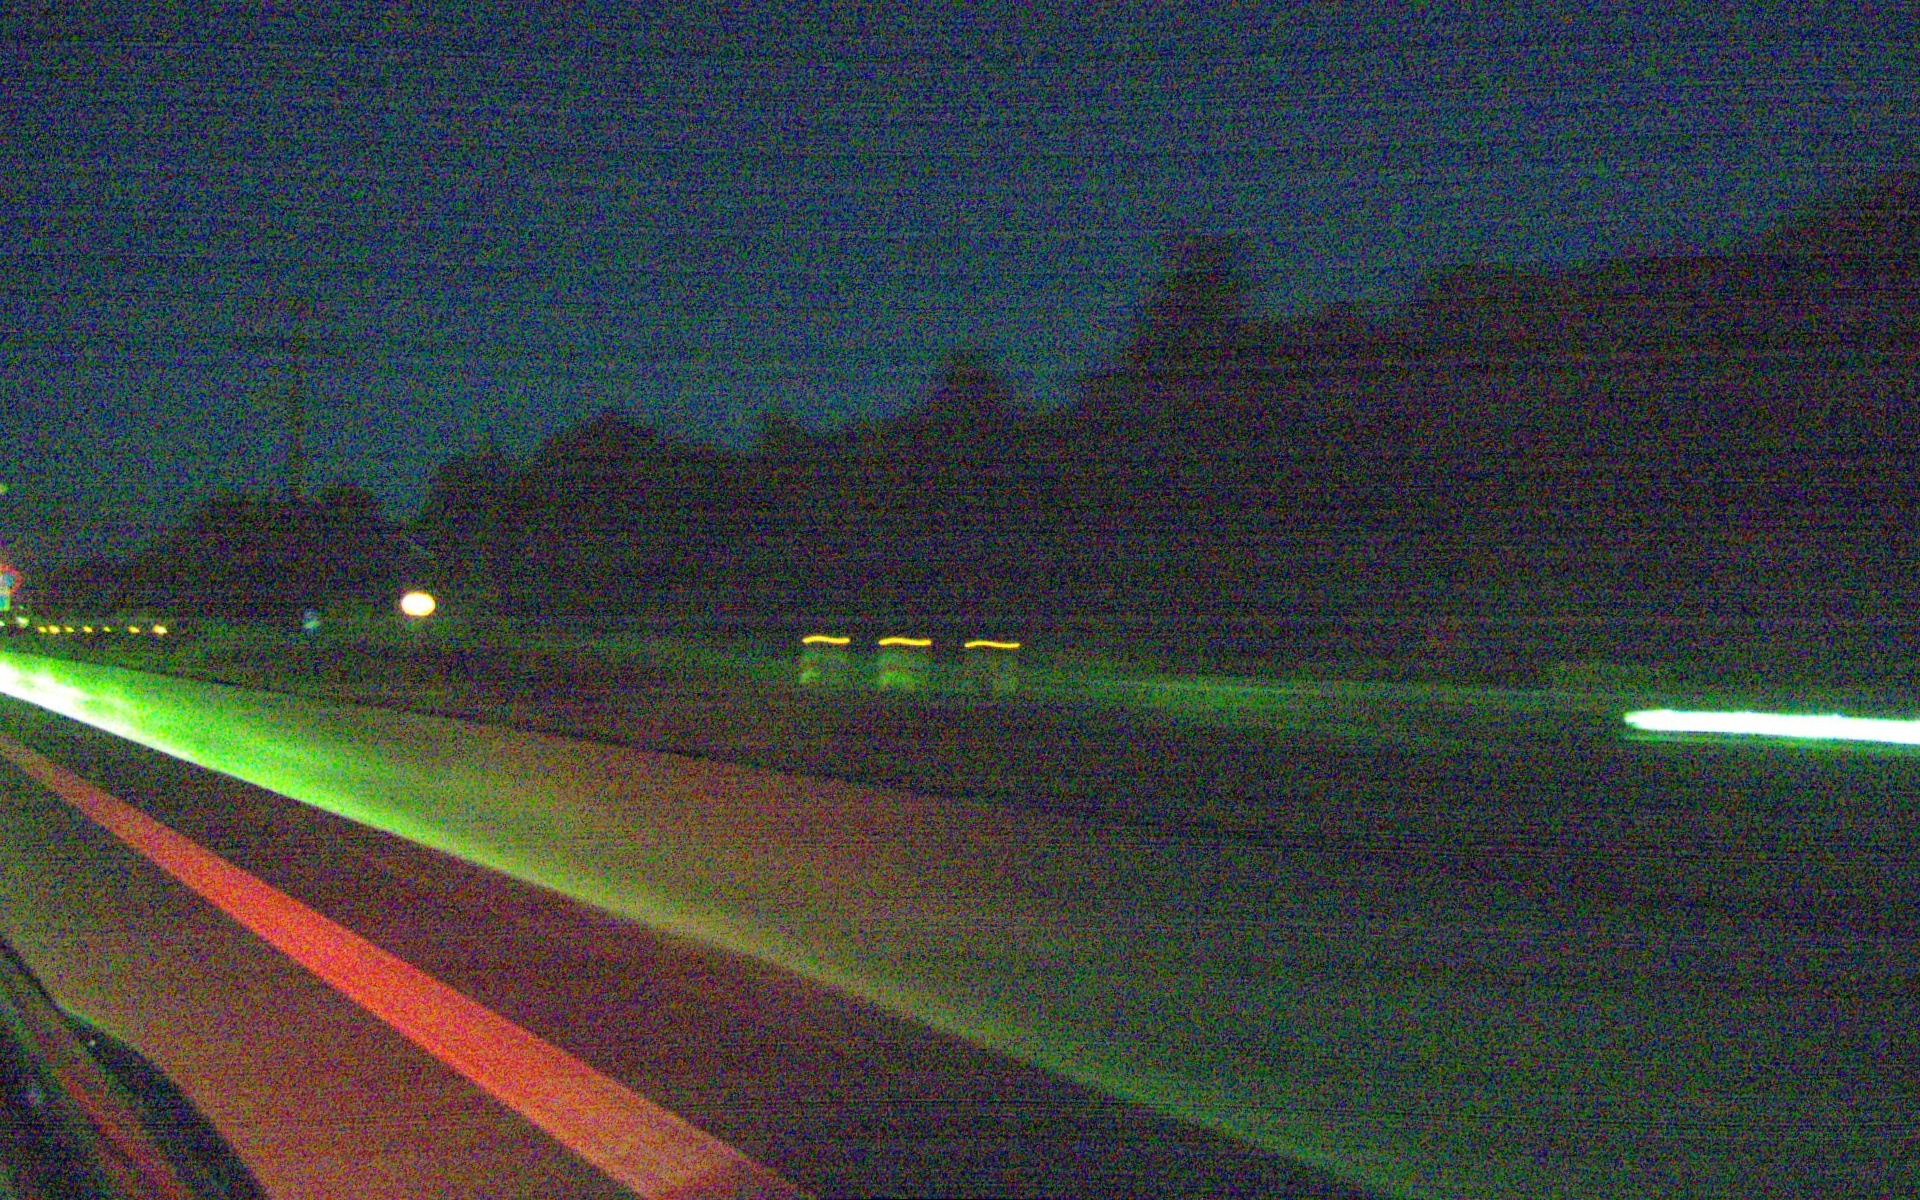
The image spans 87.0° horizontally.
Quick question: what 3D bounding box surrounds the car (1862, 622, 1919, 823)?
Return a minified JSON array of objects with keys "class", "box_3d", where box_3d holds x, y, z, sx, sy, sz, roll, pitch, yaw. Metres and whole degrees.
[{"class":"car","box_3d":[9.302,0.900,6.795,4.749,1.490,1.732,-2,-4,40]}]
